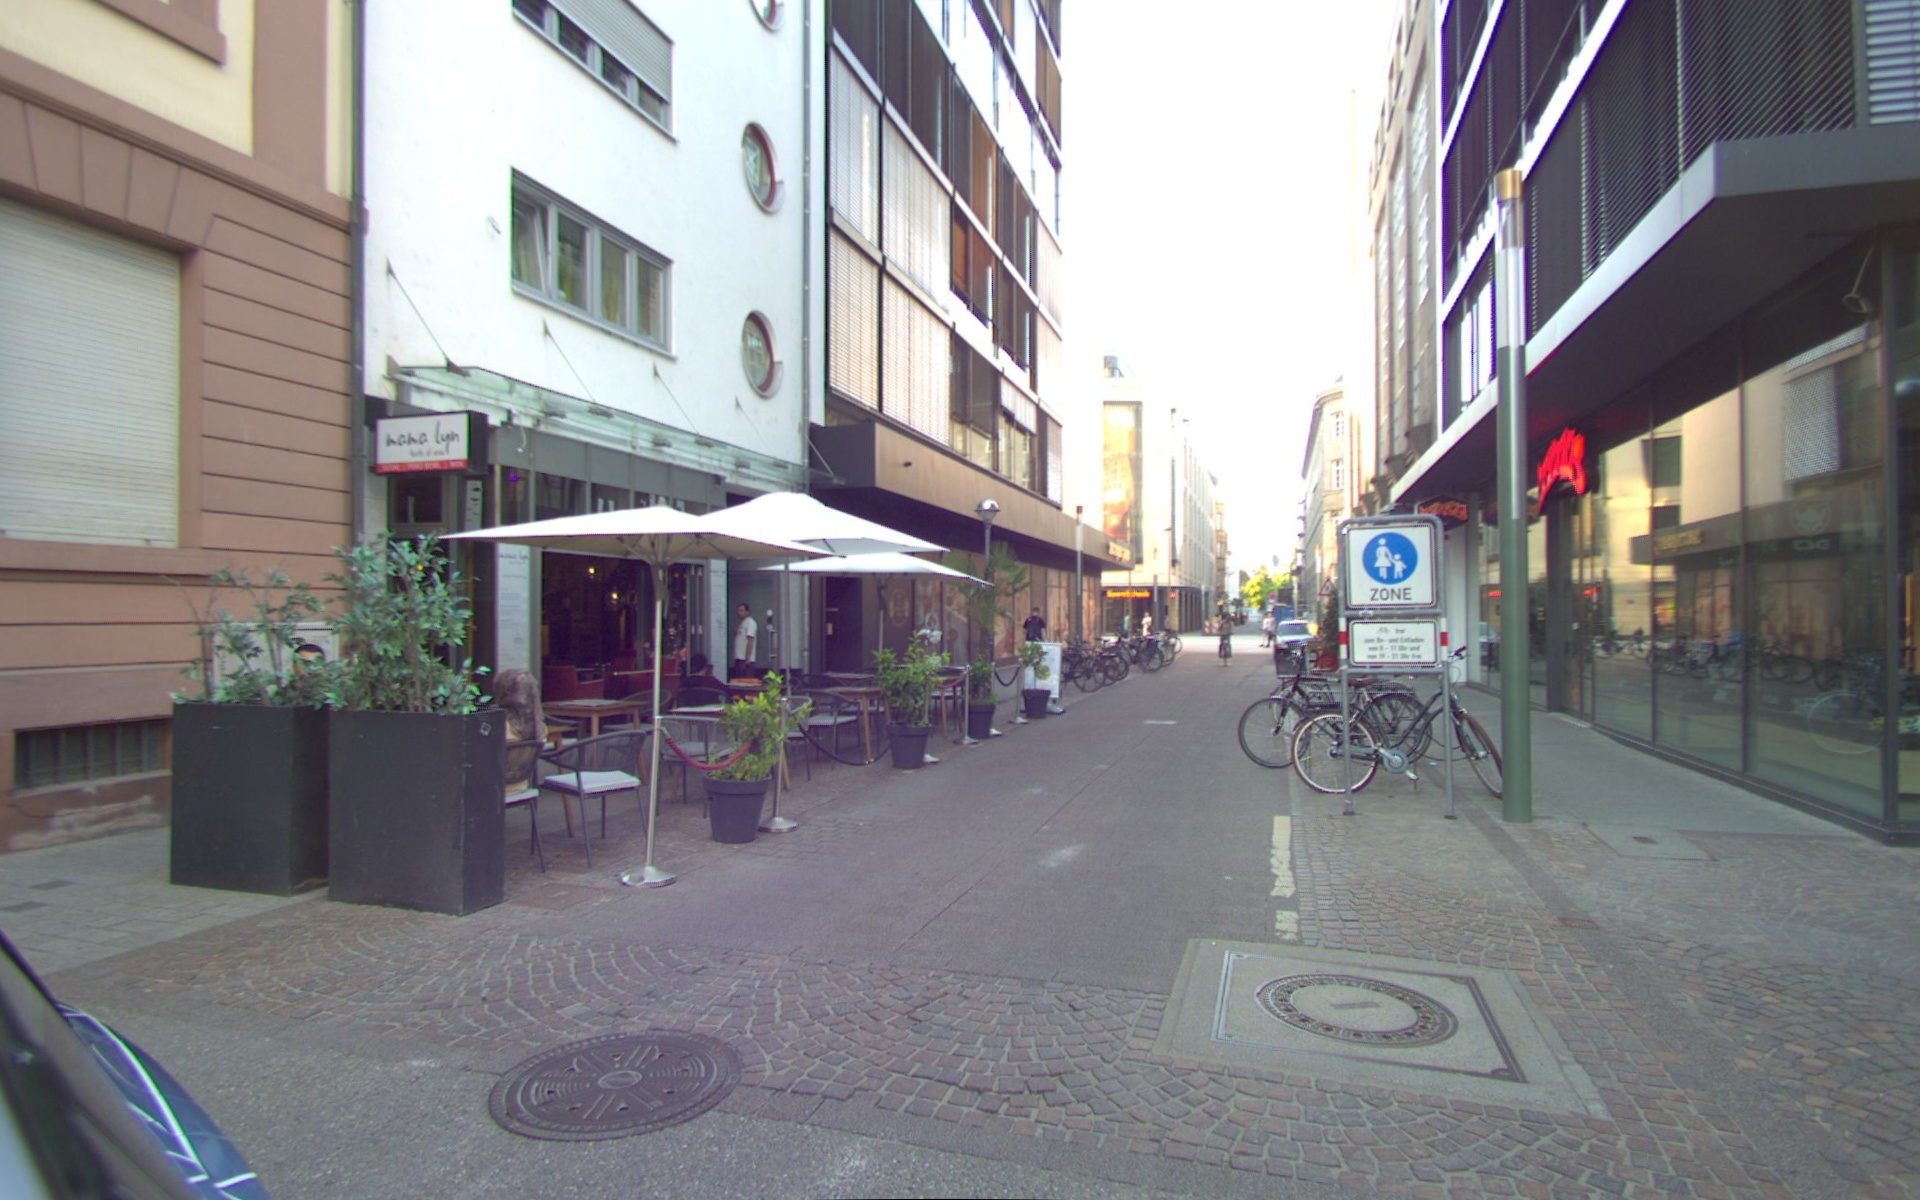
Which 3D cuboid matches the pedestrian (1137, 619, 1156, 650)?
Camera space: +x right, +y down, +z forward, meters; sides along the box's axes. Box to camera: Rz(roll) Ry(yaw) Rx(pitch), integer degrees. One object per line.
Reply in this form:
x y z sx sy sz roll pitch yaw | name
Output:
10.034 1.827 54.416 0.625 1.633 0.785 0 -1 -31 | pedestrian

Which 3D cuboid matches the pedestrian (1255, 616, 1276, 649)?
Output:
15.172 1.621 50.247 0.771 1.633 0.636 0 -1 -5 | pedestrian

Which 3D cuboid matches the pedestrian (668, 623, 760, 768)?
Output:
-2.558 0.964 10.584 0.571 1.431 0.863 -1 -1 19 | pedestrian

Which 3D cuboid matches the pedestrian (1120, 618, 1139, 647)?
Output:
9.061 1.725 54.016 0.626 1.536 0.784 0 -1 -39 | pedestrian

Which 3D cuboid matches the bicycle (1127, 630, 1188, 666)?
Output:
6.853 1.673 35.163 2.023 1.225 0.615 -1 -1 18 | bicycle

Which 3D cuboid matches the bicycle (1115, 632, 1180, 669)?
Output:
6.143 1.652 33.113 2.023 1.176 0.615 -1 -1 18 | bicycle

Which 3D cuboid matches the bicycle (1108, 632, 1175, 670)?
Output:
5.750 1.610 32.091 2.023 1.176 0.615 -1 -1 18 | bicycle

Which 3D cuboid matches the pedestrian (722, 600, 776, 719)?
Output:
-3.242 0.906 15.559 0.634 1.785 0.599 -1 -1 13 | pedestrian

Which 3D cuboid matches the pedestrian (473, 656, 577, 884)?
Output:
-2.451 0.937 5.726 0.396 1.223 0.382 0 -1 8 | pedestrian

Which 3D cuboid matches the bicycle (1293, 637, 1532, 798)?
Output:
3.598 0.936 8.187 1.657 1.214 0.506 -3 -2 18 | bicycle

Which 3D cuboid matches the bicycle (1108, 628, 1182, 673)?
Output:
5.362 1.447 29.363 2.023 1.176 0.662 2 -1 18 | bicycle

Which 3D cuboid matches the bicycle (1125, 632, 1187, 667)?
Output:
6.687 1.681 34.497 2.023 1.176 0.615 -1 -1 18 | bicycle

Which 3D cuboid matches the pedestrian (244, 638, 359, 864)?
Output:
-4.030 0.897 6.218 0.358 1.316 0.494 0 -1 4 | pedestrian

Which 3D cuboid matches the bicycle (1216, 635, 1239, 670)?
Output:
9.120 1.757 34.448 0.694 1.137 1.993 -1 -2 17 | bicycle

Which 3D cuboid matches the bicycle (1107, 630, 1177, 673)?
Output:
5.540 1.549 30.803 2.023 1.176 0.615 2 0 18 | bicycle

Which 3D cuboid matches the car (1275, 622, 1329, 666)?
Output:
11.938 1.503 35.244 1.593 1.434 3.578 -1 -1 22 | car

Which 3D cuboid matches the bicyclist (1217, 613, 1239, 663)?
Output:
9.148 1.289 34.572 0.670 1.683 0.864 -1 -2 17 | bicyclist

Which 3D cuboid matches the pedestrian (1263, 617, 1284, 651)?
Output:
15.333 1.659 49.481 0.770 1.633 0.637 0 -1 -33 | pedestrian

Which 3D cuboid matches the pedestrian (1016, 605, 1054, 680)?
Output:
1.887 1.060 25.418 0.798 1.850 0.671 -1 -1 20 | pedestrian

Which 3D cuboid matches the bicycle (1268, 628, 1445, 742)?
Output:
4.769 1.033 12.285 1.888 1.279 0.535 -4 -2 19 | bicycle

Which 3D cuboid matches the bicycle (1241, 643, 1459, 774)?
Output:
3.725 1.037 9.804 1.887 1.190 0.514 -2 -2 17 | bicycle
